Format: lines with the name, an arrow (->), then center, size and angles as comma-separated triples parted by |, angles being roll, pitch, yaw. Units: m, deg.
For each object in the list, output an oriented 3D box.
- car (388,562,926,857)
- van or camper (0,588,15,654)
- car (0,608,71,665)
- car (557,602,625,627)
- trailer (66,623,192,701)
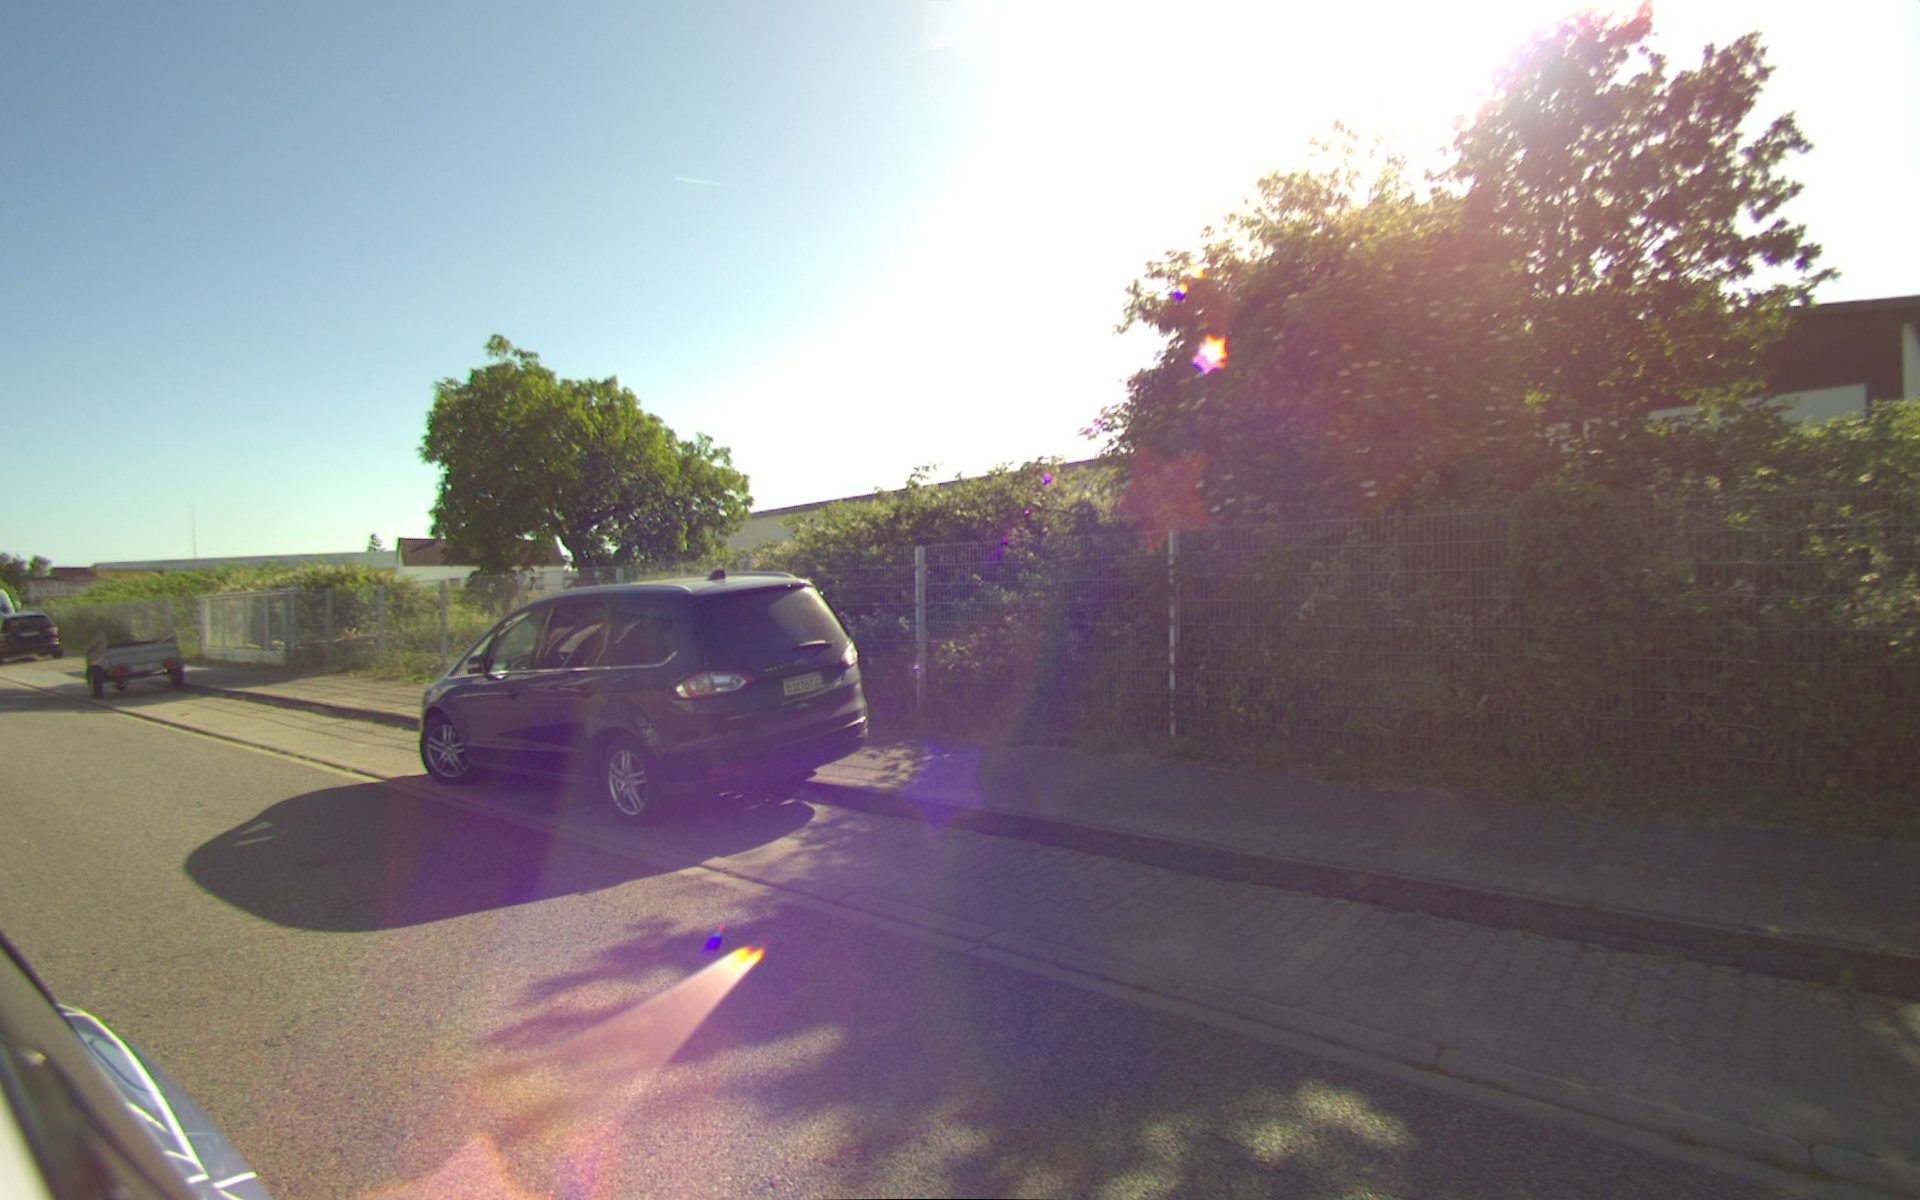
car -> -2.706, 0.678, 8.367 | 4.796, 1.743, 1.775 | -1, 3, 39
van or camper -> -42.271, 1.009, 43.365 | 5.947, 2.704, 1.946 | -2, 5, 43
car -> -32.581, 1.248, 34.915 | 5.102, 1.706, 2.011 | -2, 4, 40
car -> -25.701, 1.013, 70.509 | 4.103, 1.586, 1.853 | -1, 0, -36
trailer -> -16.921, 1.200, 20.581 | 3.077, 1.364, 1.461 | -1, 2, 41
